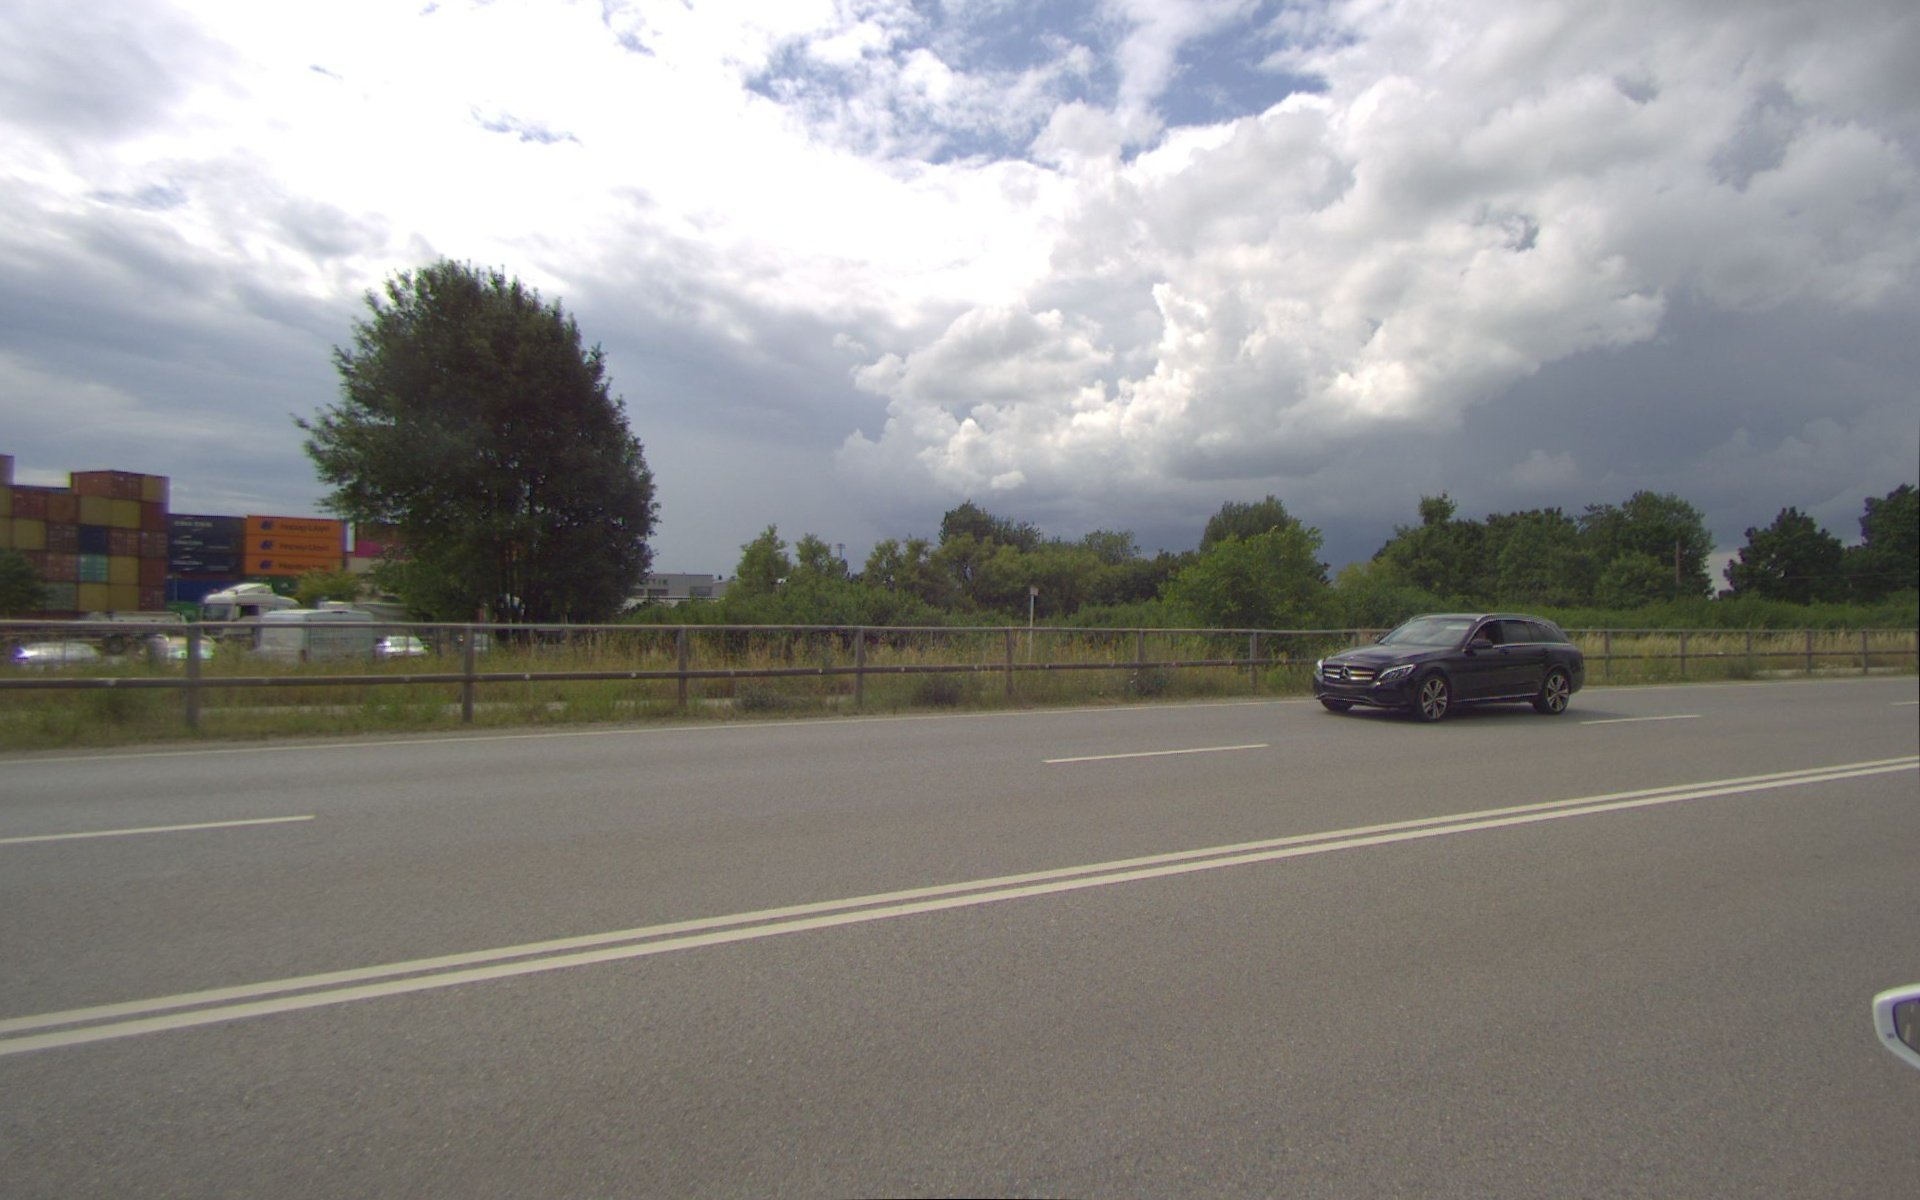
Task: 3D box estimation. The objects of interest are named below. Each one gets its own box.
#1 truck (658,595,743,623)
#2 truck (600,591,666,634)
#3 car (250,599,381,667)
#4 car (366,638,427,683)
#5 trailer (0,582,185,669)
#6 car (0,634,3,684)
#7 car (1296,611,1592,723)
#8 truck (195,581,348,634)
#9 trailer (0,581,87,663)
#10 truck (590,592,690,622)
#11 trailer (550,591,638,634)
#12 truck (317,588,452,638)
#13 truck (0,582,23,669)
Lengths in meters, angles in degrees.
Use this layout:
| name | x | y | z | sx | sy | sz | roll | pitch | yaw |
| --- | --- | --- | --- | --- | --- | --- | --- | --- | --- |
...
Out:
| name | x | y | z | sx | sy | sz | roll | pitch | yaw |
| --- | --- | --- | --- | --- | --- | --- | --- | --- | --- |
| truck | -20.327 | 0.712 | 78.691 | 6.146 | 2.040 | 1.988 | 2 | -1 | -25 |
| truck | -21.476 | 0.842 | 65.994 | 3.691 | 2.713 | 1.982 | 1 | 0 | -33 |
| car | -19.094 | 0.921 | 29.671 | 4.515 | 1.758 | 1.991 | 2 | 1 | 40 |
| car | -24.809 | 2.625 | 44.170 | 1.827 | 1.742 | 3.958 | 1 | 0 | -36 |
| trailer | -47.767 | 1.332 | 54.572 | 2.154 | 4.350 | 9.381 | 1 | -1 | 17 |
| car | -37.012 | 2.198 | 37.458 | 1.831 | 1.742 | 3.949 | 1 | 0 | -43 |
| car | 7.282 | 0.936 | 15.045 | 4.298 | 1.461 | 1.802 | 1 | 0 | -28 |
| truck | -37.875 | 0.438 | 55.538 | 2.602 | 2.718 | 6.653 | 1 | -1 | 23 |
| trailer | -51.969 | 1.169 | 53.412 | 2.154 | 4.350 | 8.503 | 1 | -1 | 17 |
| truck | -24.449 | 0.544 | 76.791 | 7.037 | 2.040 | 1.988 | 2 | -1 | -25 |
| trailer | -23.538 | 0.829 | 64.642 | 5.014 | 2.695 | 1.982 | 1 | 0 | -33 |
| truck | -33.249 | 0.752 | 58.324 | 2.601 | 2.718 | 6.655 | 1 | -1 | 20 |
| truck | -49.532 | 1.219 | 48.840 | 2.154 | 4.350 | 5.432 | 1 | 0 | 17 |
